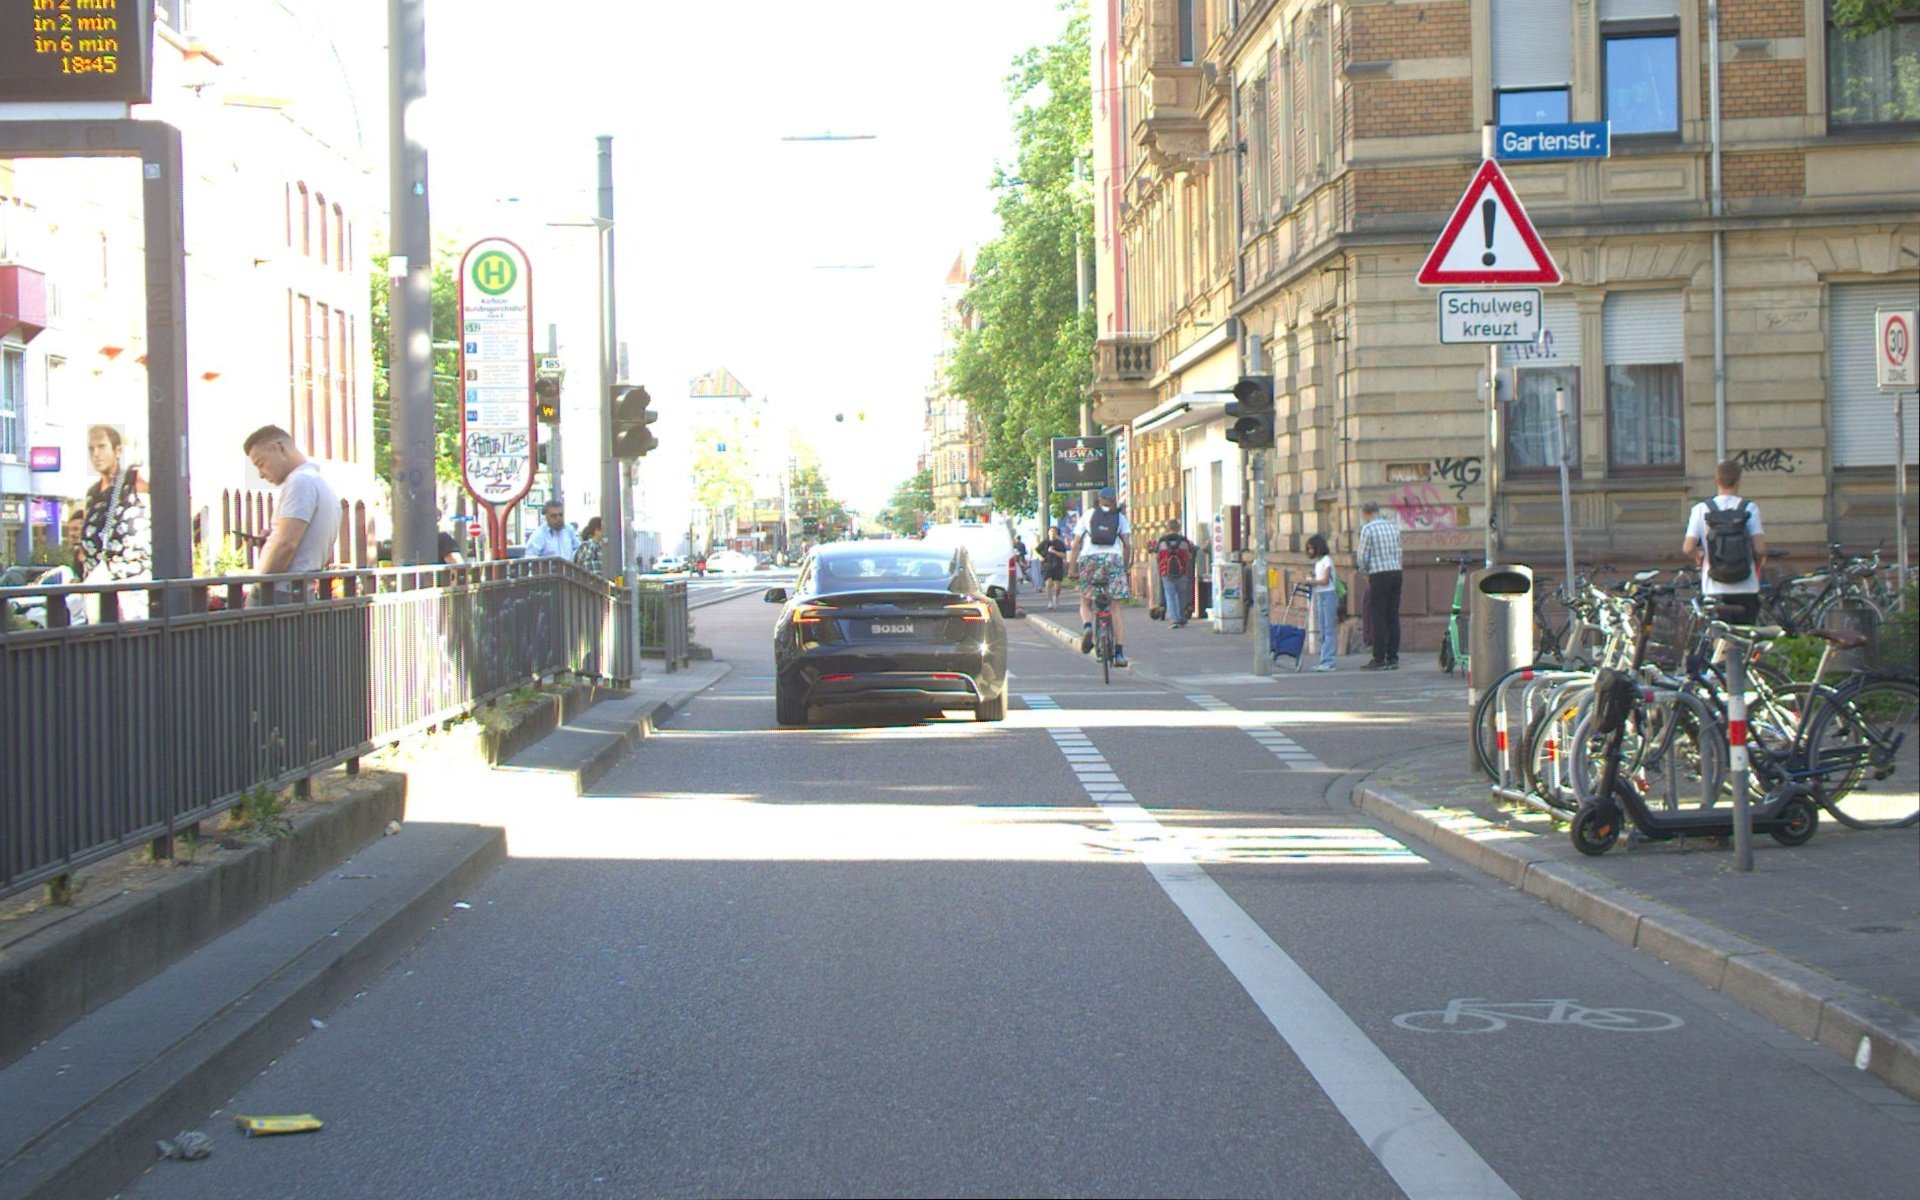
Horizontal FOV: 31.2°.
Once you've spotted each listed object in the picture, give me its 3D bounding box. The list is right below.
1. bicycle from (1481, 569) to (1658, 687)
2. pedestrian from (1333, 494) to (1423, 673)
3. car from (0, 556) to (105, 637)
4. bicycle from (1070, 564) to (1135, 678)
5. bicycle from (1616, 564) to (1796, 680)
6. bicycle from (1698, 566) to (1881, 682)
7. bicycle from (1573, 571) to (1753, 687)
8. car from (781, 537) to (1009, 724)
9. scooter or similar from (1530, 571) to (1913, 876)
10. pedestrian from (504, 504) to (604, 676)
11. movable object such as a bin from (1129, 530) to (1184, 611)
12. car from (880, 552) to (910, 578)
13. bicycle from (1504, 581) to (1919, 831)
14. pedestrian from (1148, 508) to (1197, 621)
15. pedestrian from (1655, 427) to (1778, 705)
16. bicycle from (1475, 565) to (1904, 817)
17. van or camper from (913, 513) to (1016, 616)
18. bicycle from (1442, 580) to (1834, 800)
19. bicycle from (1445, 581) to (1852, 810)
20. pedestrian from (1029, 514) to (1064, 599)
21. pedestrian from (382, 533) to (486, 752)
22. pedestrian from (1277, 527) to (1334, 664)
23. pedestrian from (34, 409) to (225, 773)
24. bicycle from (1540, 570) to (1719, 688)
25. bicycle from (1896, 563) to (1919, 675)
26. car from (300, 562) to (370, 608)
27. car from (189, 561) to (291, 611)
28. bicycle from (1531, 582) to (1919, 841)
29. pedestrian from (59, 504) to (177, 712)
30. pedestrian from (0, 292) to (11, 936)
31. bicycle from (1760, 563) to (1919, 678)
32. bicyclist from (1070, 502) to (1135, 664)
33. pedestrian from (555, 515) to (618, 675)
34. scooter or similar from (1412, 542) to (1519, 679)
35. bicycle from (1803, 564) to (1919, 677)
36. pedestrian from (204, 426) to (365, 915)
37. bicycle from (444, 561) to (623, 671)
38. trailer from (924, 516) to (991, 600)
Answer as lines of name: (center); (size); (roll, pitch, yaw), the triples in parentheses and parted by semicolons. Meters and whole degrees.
bicycle: (5.934, 0.264, 33.559); (0.443, 1.111, 1.814); (-2, 1, -41)
pedestrian: (4.318, -0.179, 35.561); (0.847, 1.801, 0.876); (-1, 2, 4)
car: (-19.122, -0.086, 71.373); (1.917, 1.608, 4.370); (-1, 1, -4)
bicycle: (1.467, 0.195, 35.421); (0.647, 1.135, 2.095); (0, 1, 2)
bicycle: (7.379, 0.208, 34.088); (0.443, 1.111, 1.814); (-2, 1, -42)
bicycle: (8.177, 0.228, 33.942); (0.443, 1.111, 1.814); (-2, 1, -42)
bicycle: (6.916, 0.274, 33.883); (0.443, 1.111, 1.814); (-2, 1, -42)
car: (-0.564, 0.198, 27.919); (1.719, 1.400, 3.710); (0, 1, -2)
scooter or similar: (3.300, 0.525, 14.960); (1.478, 1.225, 0.591); (-3, 1, -1)
pedestrian: (-4.358, -0.111, 36.899); (0.594, 1.815, 0.940); (1, 1, 32)
movable object such as a bin: (3.301, -0.494, 57.932); (0.775, 1.343, 1.299); (-1, 1, -3)
car: (-3.632, -1.964, 192.722); (1.593, 1.428, 3.686); (-1, 0, 0)
bicycle: (3.602, 0.489, 16.234); (1.945, 1.103, 0.564); (-1, 1, -3)
pedestrian: (3.292, -0.554, 53.237); (0.470, 1.722, 0.586); (0, 2, 35)
pedestrian: (5.521, -0.239, 25.066); (0.717, 1.978, 0.942); (0, -1, 23)
bicycle: (3.567, 0.434, 16.887); (1.945, 1.162, 0.628); (-1, 1, -3)
van or camper: (0.048, -0.719, 71.294); (1.931, 2.030, 5.476); (1, 0, -2)
bicycle: (3.597, 0.469, 18.300); (1.945, 1.103, 0.564); (-1, 1, -3)
bicycle: (3.521, 0.478, 17.648); (1.945, 1.103, 0.564); (-1, 1, -3)
pedestrian: (1.857, -0.927, 73.640); (0.672, 1.808, 0.756); (-1, 0, -2)
pedestrian: (-3.236, 0.258, 21.172); (0.480, 1.324, 0.354); (-1, 1, 29)
pedestrian: (3.617, -0.054, 35.970); (0.574, 1.410, 0.580); (1, 1, 6)
pedestrian: (-4.033, -0.047, 16.735); (0.763, 1.728, 0.590); (-1, 1, -1)
bicycle: (6.528, 0.272, 33.613); (0.443, 1.111, 1.814); (-2, 1, -41)
bicycle: (10.191, 0.192, 34.043); (0.443, 1.111, 1.814); (-2, 1, -42)
car: (-19.965, -0.501, 109.919); (1.659, 1.417, 3.620); (1, 1, -1)
car: (-19.818, -0.404, 94.798); (1.960, 1.321, 4.821); (1, 1, -2)
bicycle: (3.629, 0.493, 15.620); (1.945, 1.103, 0.564); (-1, 1, -3)
pedestrian: (-6.900, 0.055, 28.209); (0.696, 1.662, 1.033); (-1, 1, -1)
pedestrian: (-3.239, 0.035, 9.896); (0.770, 1.825, 0.804); (1, 0, -31)
bicycle: (8.823, 0.194, 34.040); (0.443, 1.111, 1.814); (-2, 1, -42)
bicyclist: (1.469, -0.184, 35.529); (0.655, 1.650, 0.927); (0, 1, 2)
pedestrian: (-3.783, -0.053, 34.778); (0.517, 1.585, 0.667); (2, 1, -11)
scooter or similar: (4.865, 0.086, 33.143); (0.390, 1.285, 1.523); (-1, 1, -17)
bicycle: (9.314, 0.200, 34.272); (0.443, 1.111, 1.814); (-2, 1, -42)
pedestrian: (-2.996, 0.299, 15.297); (0.537, 2.113, 0.808); (-1, 1, -2)
bicycle: (-4.601, 0.163, 37.056); (1.942, 1.090, 0.598); (3, 1, 33)
trailer: (-0.061, -1.076, 88.703); (1.661, 2.109, 3.842); (1, 1, 0)
